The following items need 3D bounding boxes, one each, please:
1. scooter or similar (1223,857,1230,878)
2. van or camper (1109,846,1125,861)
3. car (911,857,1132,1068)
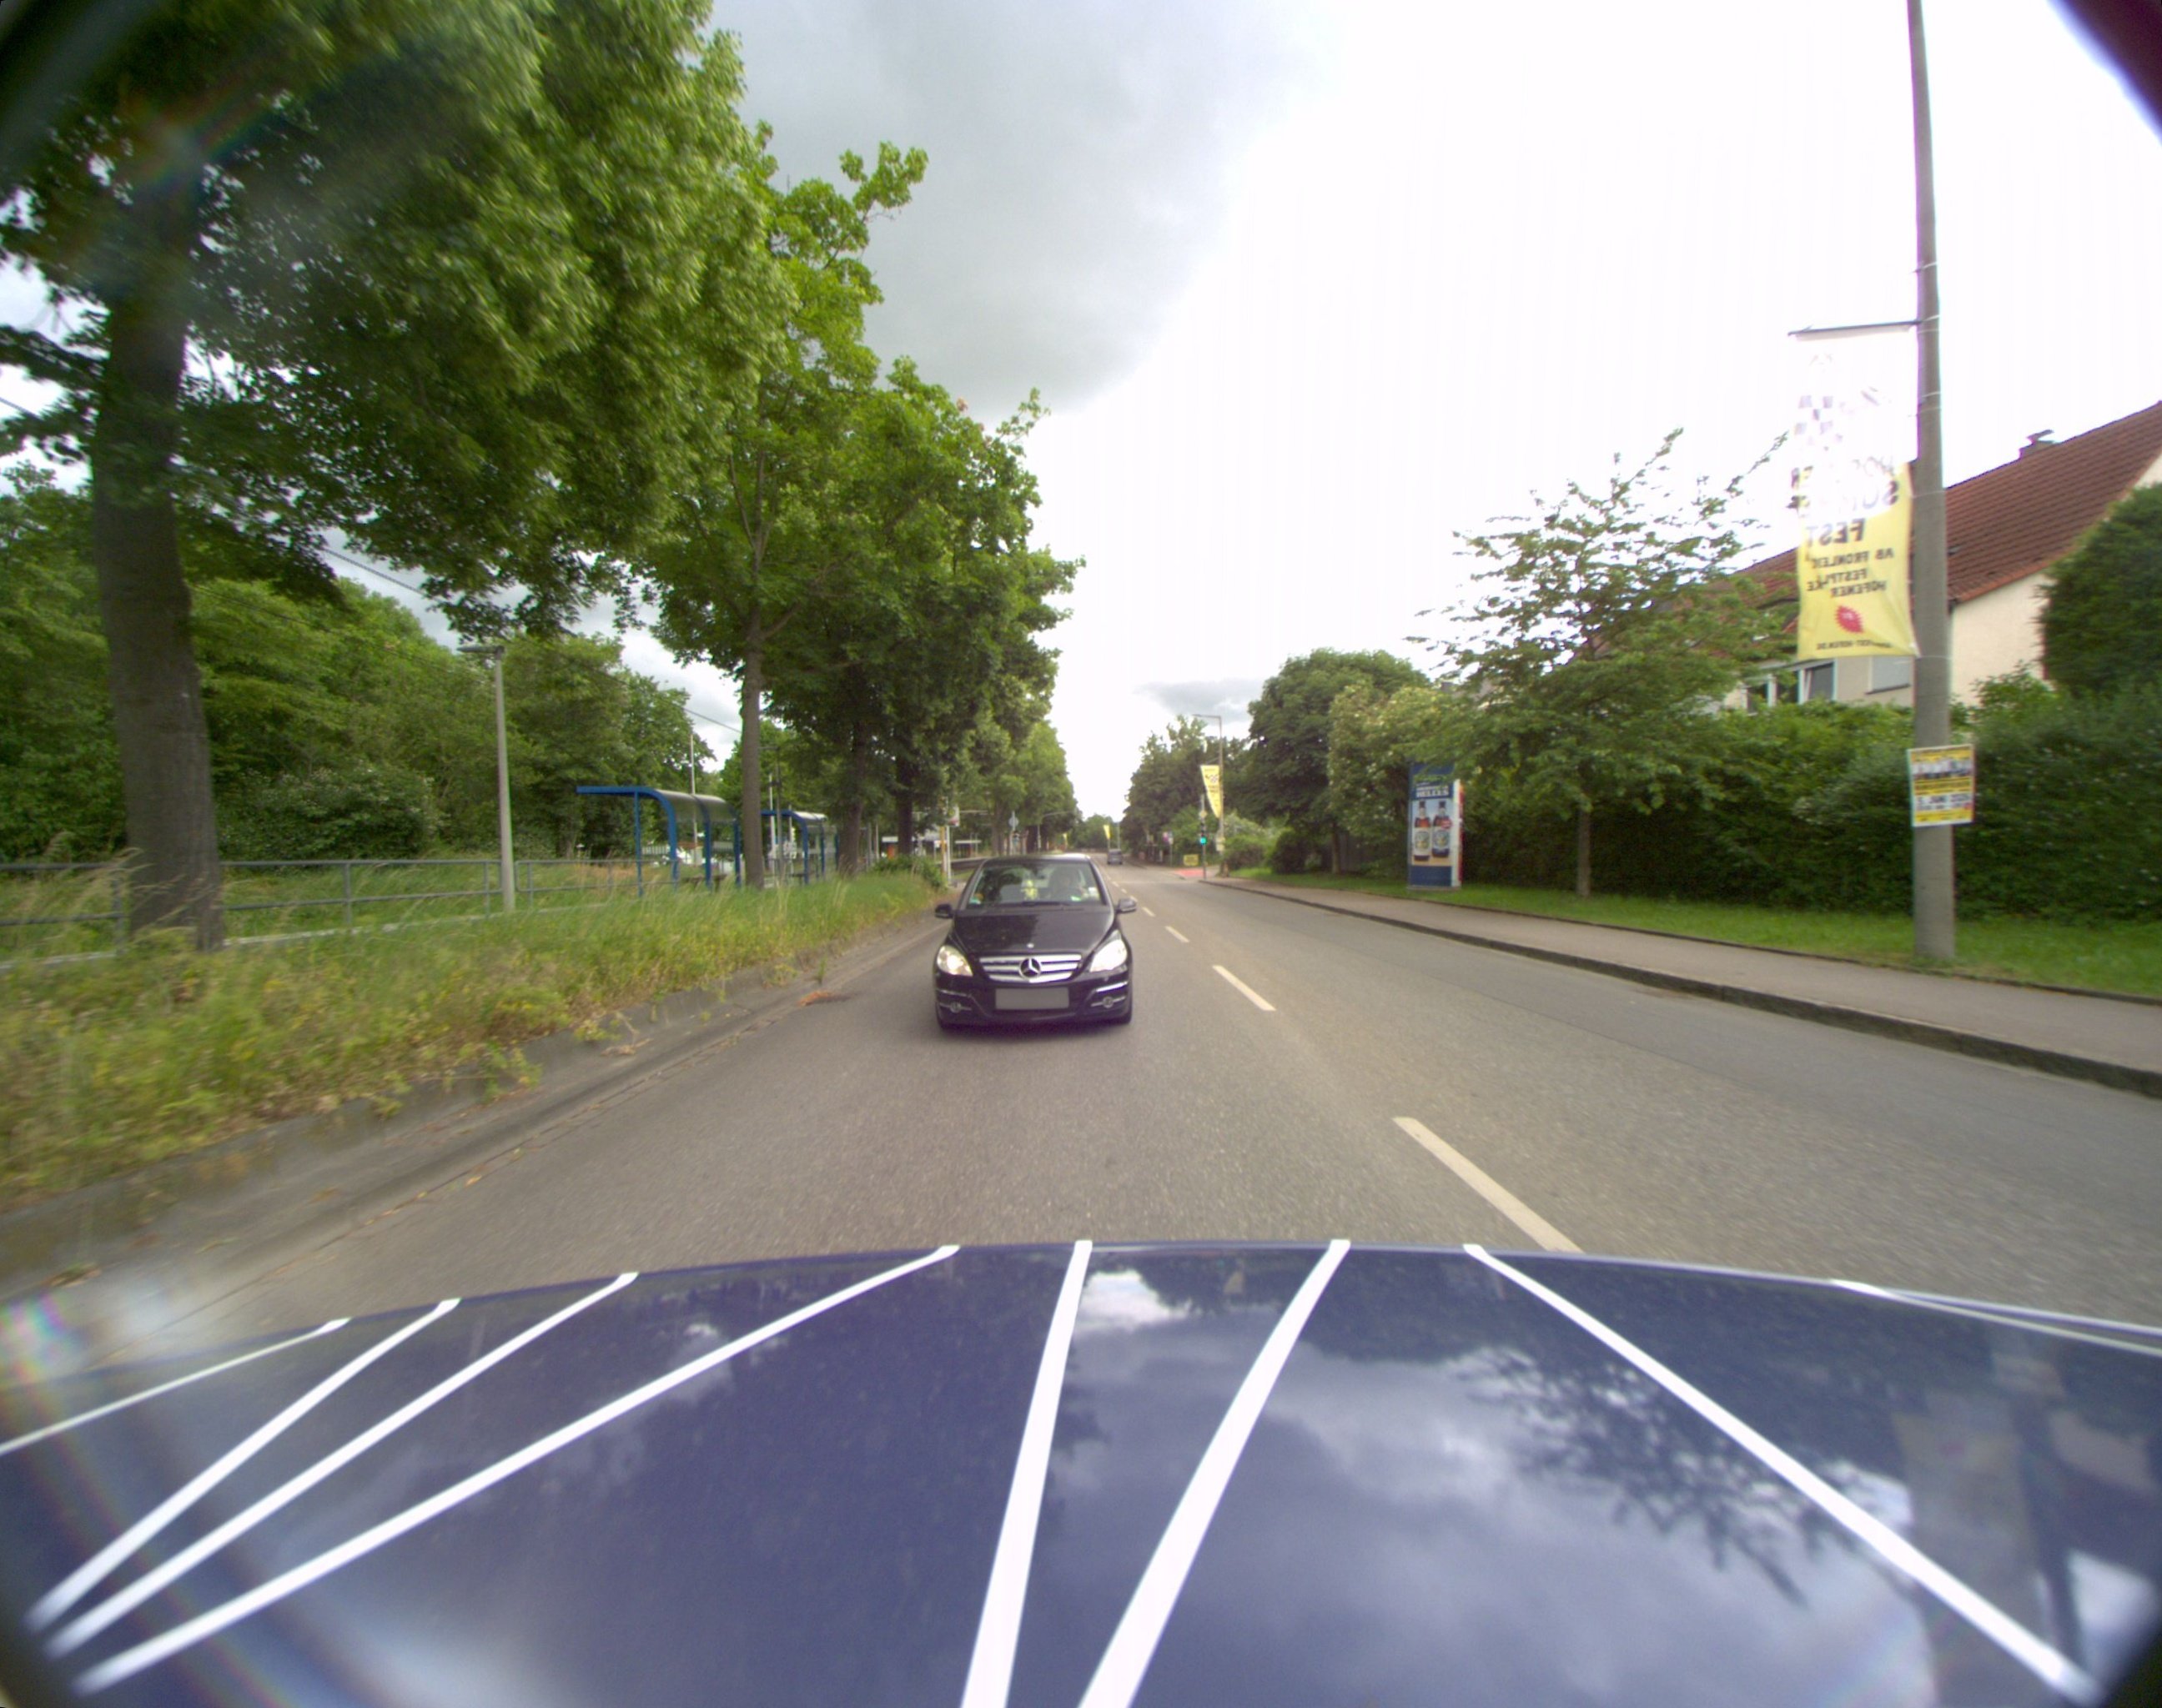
[{"bbox_3d":[9.025,0.826,47.046,0.253,1.209,1.280,-1,0,5],"label":"scooter or similar"},{"bbox_3d":[4.778,-0.035,101.699,1.918,1.888,4.811,-2,0,0],"label":"van or camper"},{"bbox_3d":[-0.491,0.876,8.294,1.683,1.565,4.482,-3,0,-1],"label":"car"}]
